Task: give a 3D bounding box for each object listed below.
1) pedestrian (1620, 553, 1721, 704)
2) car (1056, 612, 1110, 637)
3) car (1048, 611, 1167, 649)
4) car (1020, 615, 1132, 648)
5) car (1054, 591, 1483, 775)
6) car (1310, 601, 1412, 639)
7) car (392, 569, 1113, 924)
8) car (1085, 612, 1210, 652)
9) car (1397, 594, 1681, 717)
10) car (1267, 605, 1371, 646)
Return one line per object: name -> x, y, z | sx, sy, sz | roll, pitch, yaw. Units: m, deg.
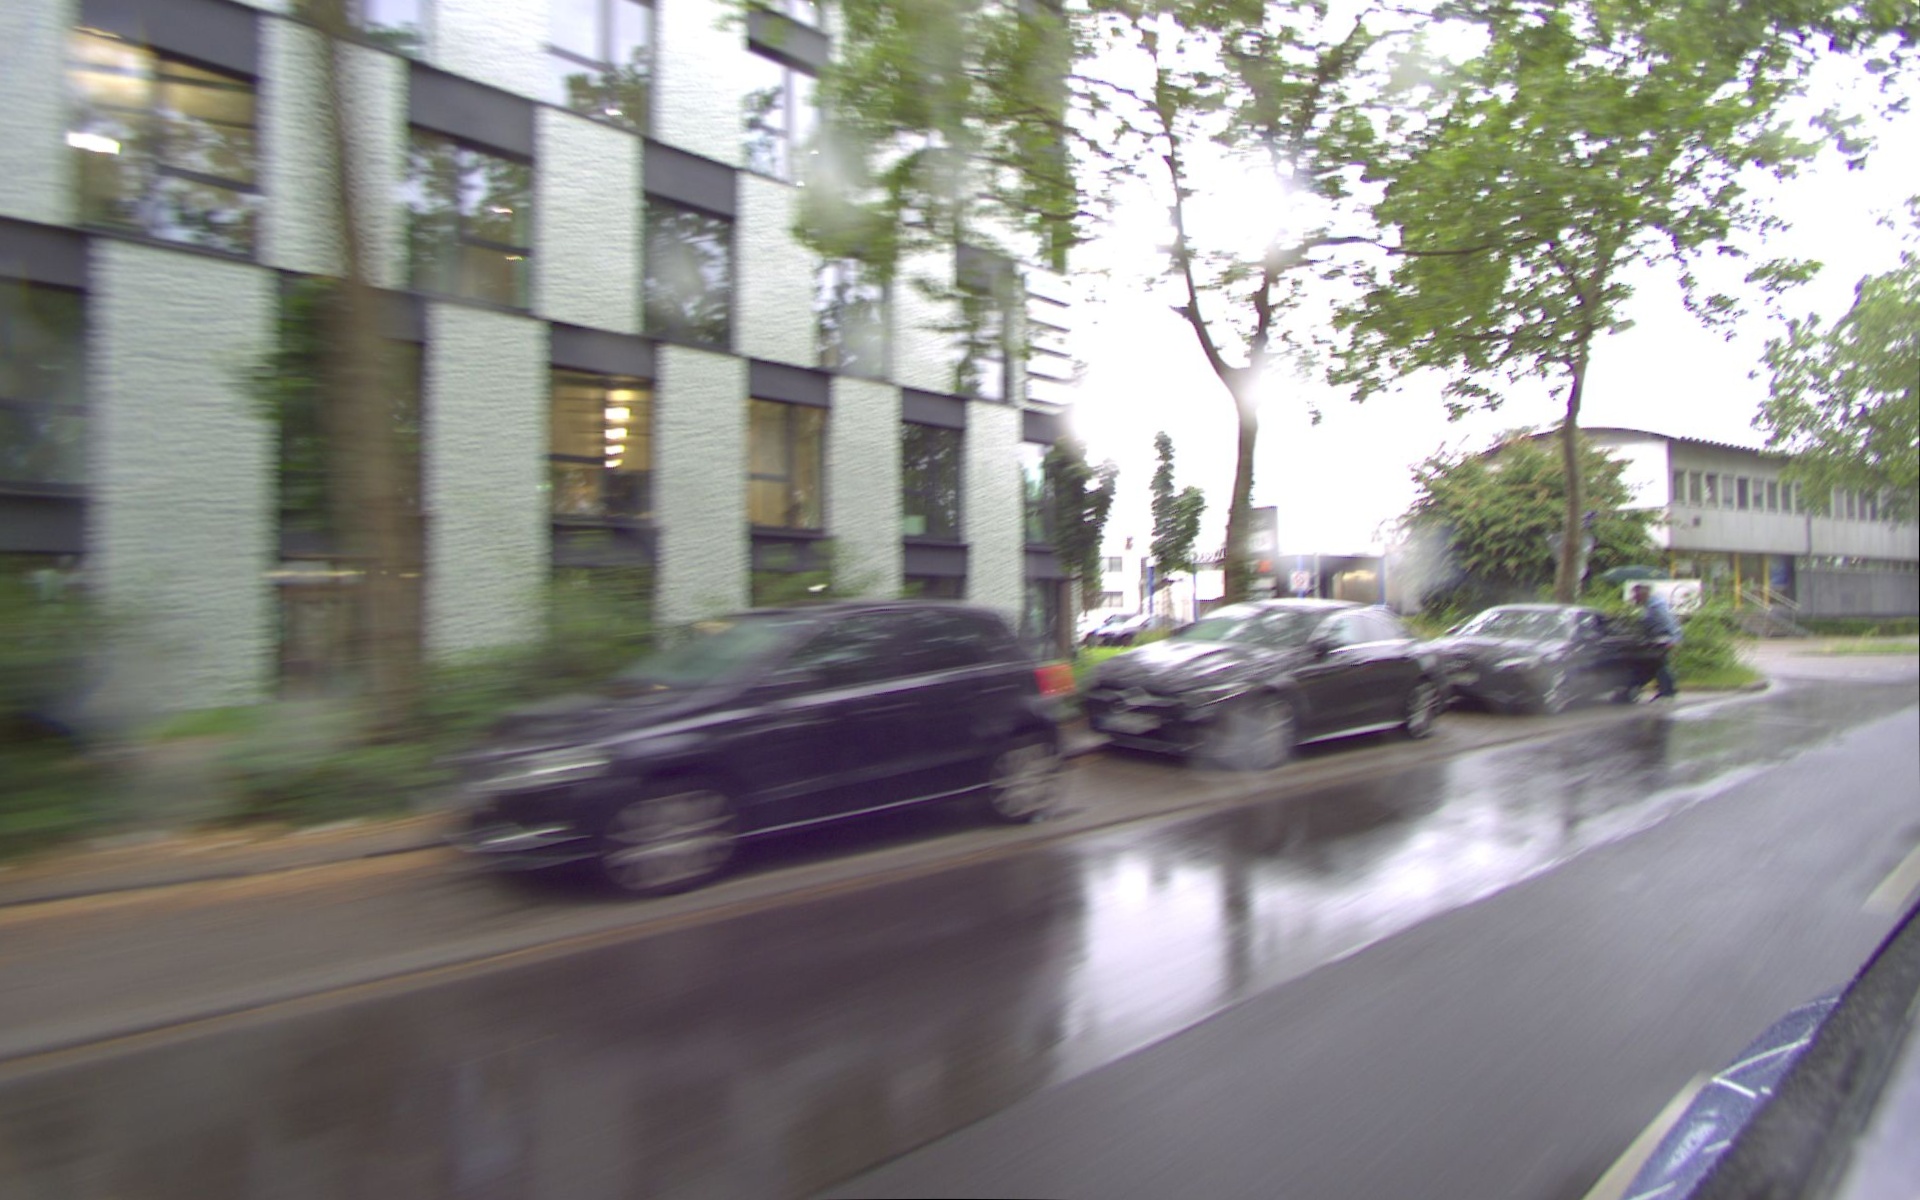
pedestrian -> 9.947, 0.383, 14.210 | 0.886, 2.039, 0.829 | 0, -1, 15
car -> 8.083, 1.579, 66.739 | 1.854, 1.487, 4.314 | -4, 0, -17
car -> 6.222, 1.238, 42.825 | 4.630, 1.550, 1.897 | 0, -2, -21
car -> 5.200, 1.406, 45.461 | 4.630, 1.431, 1.897 | 0, -1, -20
car -> 3.324, 0.662, 10.253 | 5.014, 1.446, 1.746 | 0, -1, -41
car -> 19.469, 0.936, 49.200 | 4.093, 1.549, 1.896 | -4, 0, -8
car -> -1.069, 0.626, 6.226 | 4.009, 1.495, 1.747 | 0, -1, -39
car -> 7.554, 1.247, 40.692 | 4.630, 1.549, 1.897 | 0, -1, -21
car -> 8.346, 0.676, 14.419 | 4.769, 1.446, 1.749 | 0, 2, -37
car -> 15.526, 1.108, 44.040 | 1.855, 1.526, 4.313 | -4, 0, -20
